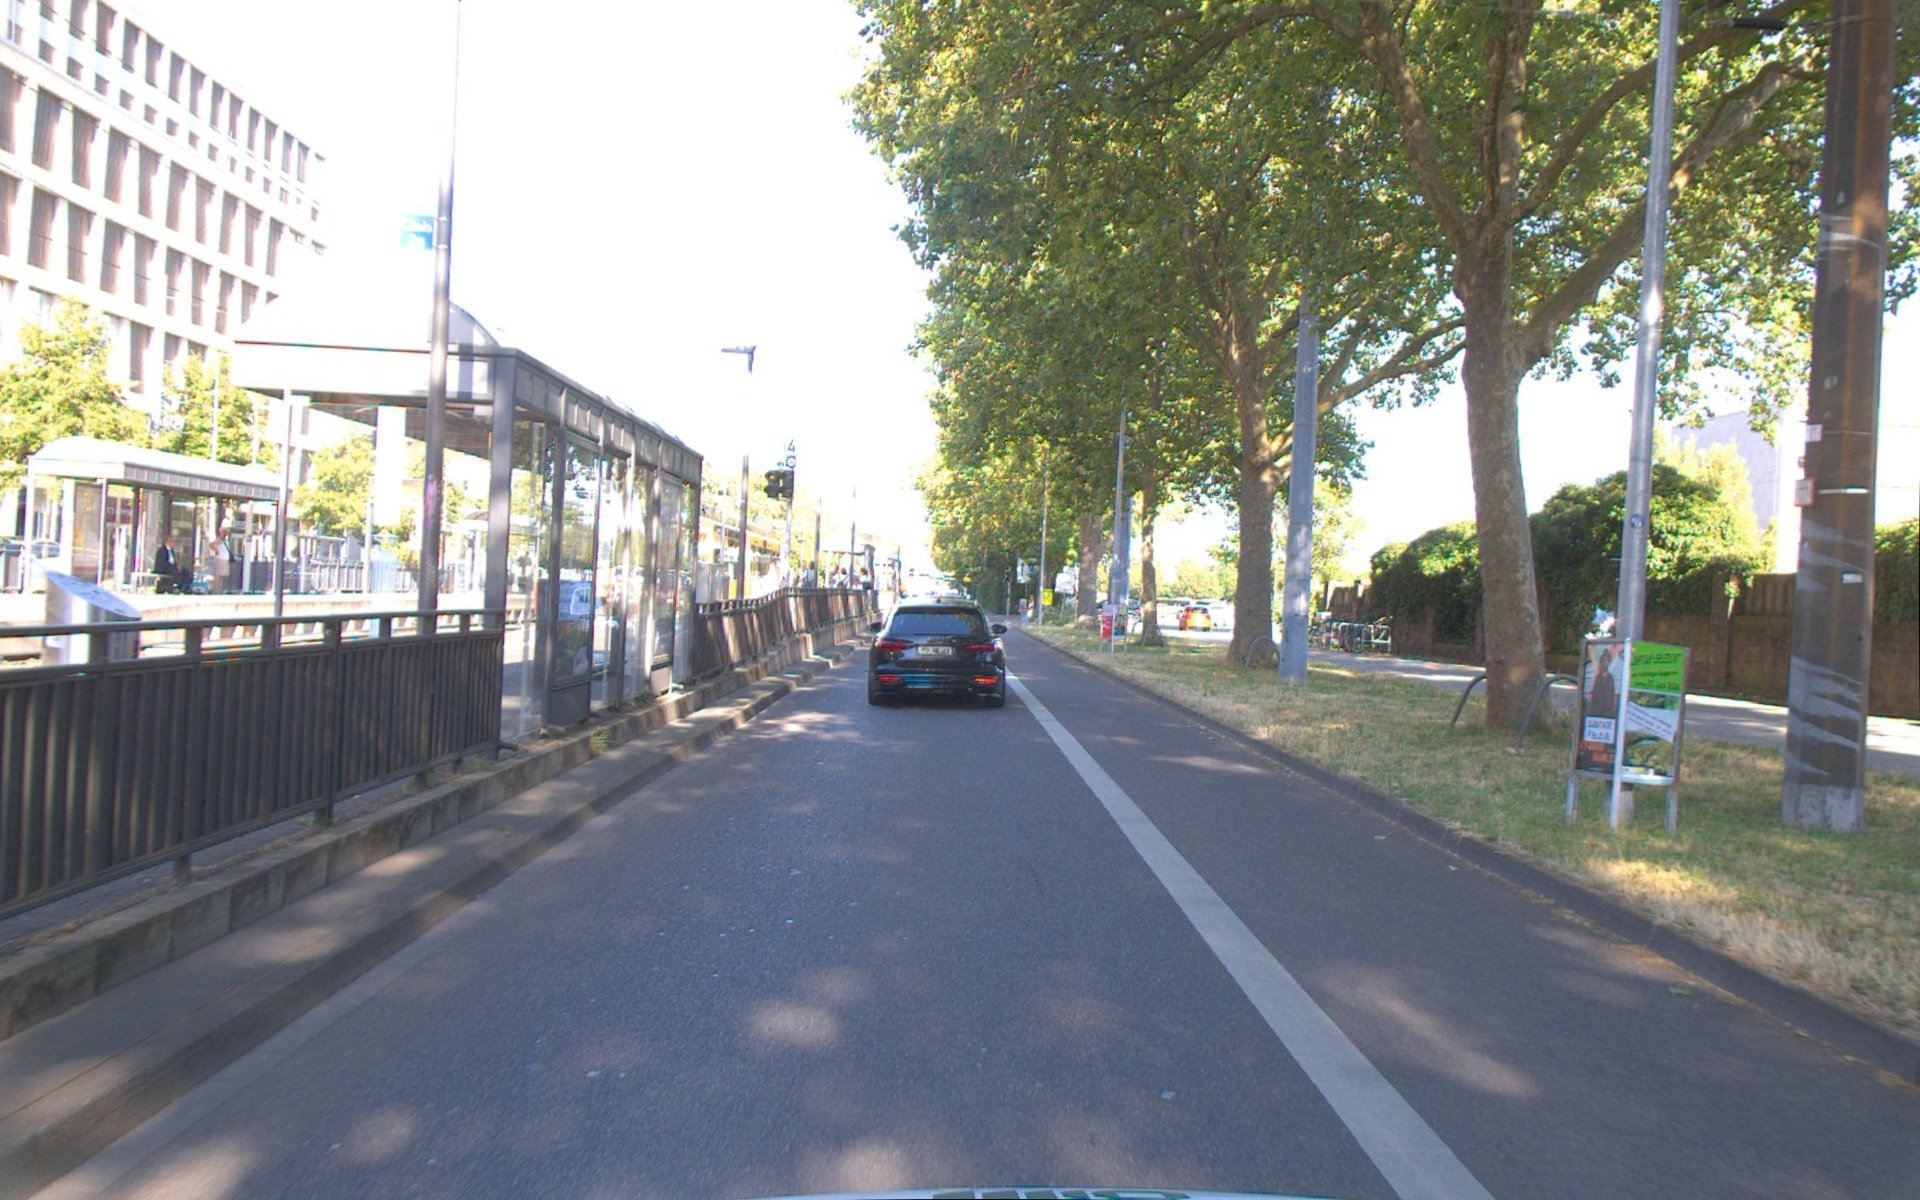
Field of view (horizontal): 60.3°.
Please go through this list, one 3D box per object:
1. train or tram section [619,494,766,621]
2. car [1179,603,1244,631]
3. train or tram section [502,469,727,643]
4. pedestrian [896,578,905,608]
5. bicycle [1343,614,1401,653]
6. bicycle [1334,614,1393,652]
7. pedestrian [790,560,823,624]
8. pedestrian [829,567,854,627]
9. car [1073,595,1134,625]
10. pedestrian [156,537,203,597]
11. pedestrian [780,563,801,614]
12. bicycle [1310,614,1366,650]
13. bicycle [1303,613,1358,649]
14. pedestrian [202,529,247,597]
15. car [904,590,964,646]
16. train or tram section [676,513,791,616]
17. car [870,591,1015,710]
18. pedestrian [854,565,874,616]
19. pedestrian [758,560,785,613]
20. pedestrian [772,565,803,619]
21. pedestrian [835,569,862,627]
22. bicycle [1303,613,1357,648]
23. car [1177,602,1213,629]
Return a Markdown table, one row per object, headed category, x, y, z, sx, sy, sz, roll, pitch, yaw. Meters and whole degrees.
| category | x | y | z | sx | sy | sz | roll | pitch | yaw |
| --- | --- | --- | --- | --- | --- | --- | --- | --- | --- |
| train or tram section | -9.261 | -1.374 | 58.918 | 3.242 | 3.896 | 11.841 | 3 | 0 | -1 |
| car | 17.887 | 1.199 | 117.650 | 4.365 | 1.687 | 1.918 | 3 | 0 | 4 |
| train or tram section | -9.094 | -1.046 | 45.856 | 3.242 | 3.896 | 14.217 | 3 | 0 | -1 |
| pedestrian | -3.506 | -0.399 | 97.341 | 0.403 | 1.746 | 0.665 | 3 | 0 | -1 |
| bicycle | 12.710 | 1.033 | 51.015 | 1.653 | 1.140 | 0.439 | 1 | 0 | -2 |
| bicycle | 12.702 | 1.042 | 52.081 | 1.737 | 1.140 | 0.439 | 1 | 0 | -2 |
| pedestrian | -3.895 | -0.202 | 42.095 | 0.601 | 1.575 | 0.725 | 3 | 0 | 10 |
| pedestrian | -3.439 | -0.078 | 48.067 | 0.599 | 1.697 | 0.613 | 3 | 0 | 1 |
| car | 9.625 | 0.655 | 111.375 | 3.905 | 1.795 | 1.833 | 3 | 0 | 0 |
| pedestrian | -17.228 | -0.716 | 36.533 | 0.601 | 1.282 | 0.725 | 3 | 0 | 3 |
| pedestrian | -6.094 | -0.418 | 59.641 | 0.599 | 1.815 | 0.775 | 3 | 0 | 0 |
| bicycle | 12.596 | 1.061 | 55.163 | 1.737 | 1.140 | 0.439 | 1 | 0 | -2 |
| bicycle | 12.595 | 1.051 | 56.249 | 1.737 | 1.140 | 0.439 | 1 | 0 | -2 |
| pedestrian | -17.340 | -0.873 | 39.001 | 0.601 | 1.554 | 0.725 | 3 | 0 | 8 |
| car | -0.880 | 0.560 | 53.671 | 1.727 | 1.647 | 3.998 | 3 | 0 | -3 |
| train or tram section | -9.459 | -1.407 | 70.716 | 3.242 | 3.896 | 11.841 | 3 | 0 | -1 |
| car | -0.305 | 0.639 | 22.900 | 1.840 | 1.482 | 3.355 | 1 | 0 | -3 |
| pedestrian | -3.517 | -0.341 | 60.406 | 0.599 | 1.815 | 0.613 | 3 | 0 | 0 |
| pedestrian | -6.548 | -0.470 | 57.452 | 0.777 | 1.815 | 0.625 | 3 | 0 | -1 |
| pedestrian | -5.931 | -0.266 | 56.862 | 0.788 | 1.815 | 0.639 | 3 | 0 | -41 |
| pedestrian | -3.304 | -0.066 | 48.994 | 0.602 | 1.671 | 0.610 | 3 | 0 | -20 |
| bicycle | 12.807 | 1.048 | 57.298 | 1.737 | 1.140 | 0.439 | 1 | 0 | -2 |
| car | 14.223 | 0.936 | 100.316 | 1.581 | 1.542 | 3.803 | 3 | 0 | 0 |
